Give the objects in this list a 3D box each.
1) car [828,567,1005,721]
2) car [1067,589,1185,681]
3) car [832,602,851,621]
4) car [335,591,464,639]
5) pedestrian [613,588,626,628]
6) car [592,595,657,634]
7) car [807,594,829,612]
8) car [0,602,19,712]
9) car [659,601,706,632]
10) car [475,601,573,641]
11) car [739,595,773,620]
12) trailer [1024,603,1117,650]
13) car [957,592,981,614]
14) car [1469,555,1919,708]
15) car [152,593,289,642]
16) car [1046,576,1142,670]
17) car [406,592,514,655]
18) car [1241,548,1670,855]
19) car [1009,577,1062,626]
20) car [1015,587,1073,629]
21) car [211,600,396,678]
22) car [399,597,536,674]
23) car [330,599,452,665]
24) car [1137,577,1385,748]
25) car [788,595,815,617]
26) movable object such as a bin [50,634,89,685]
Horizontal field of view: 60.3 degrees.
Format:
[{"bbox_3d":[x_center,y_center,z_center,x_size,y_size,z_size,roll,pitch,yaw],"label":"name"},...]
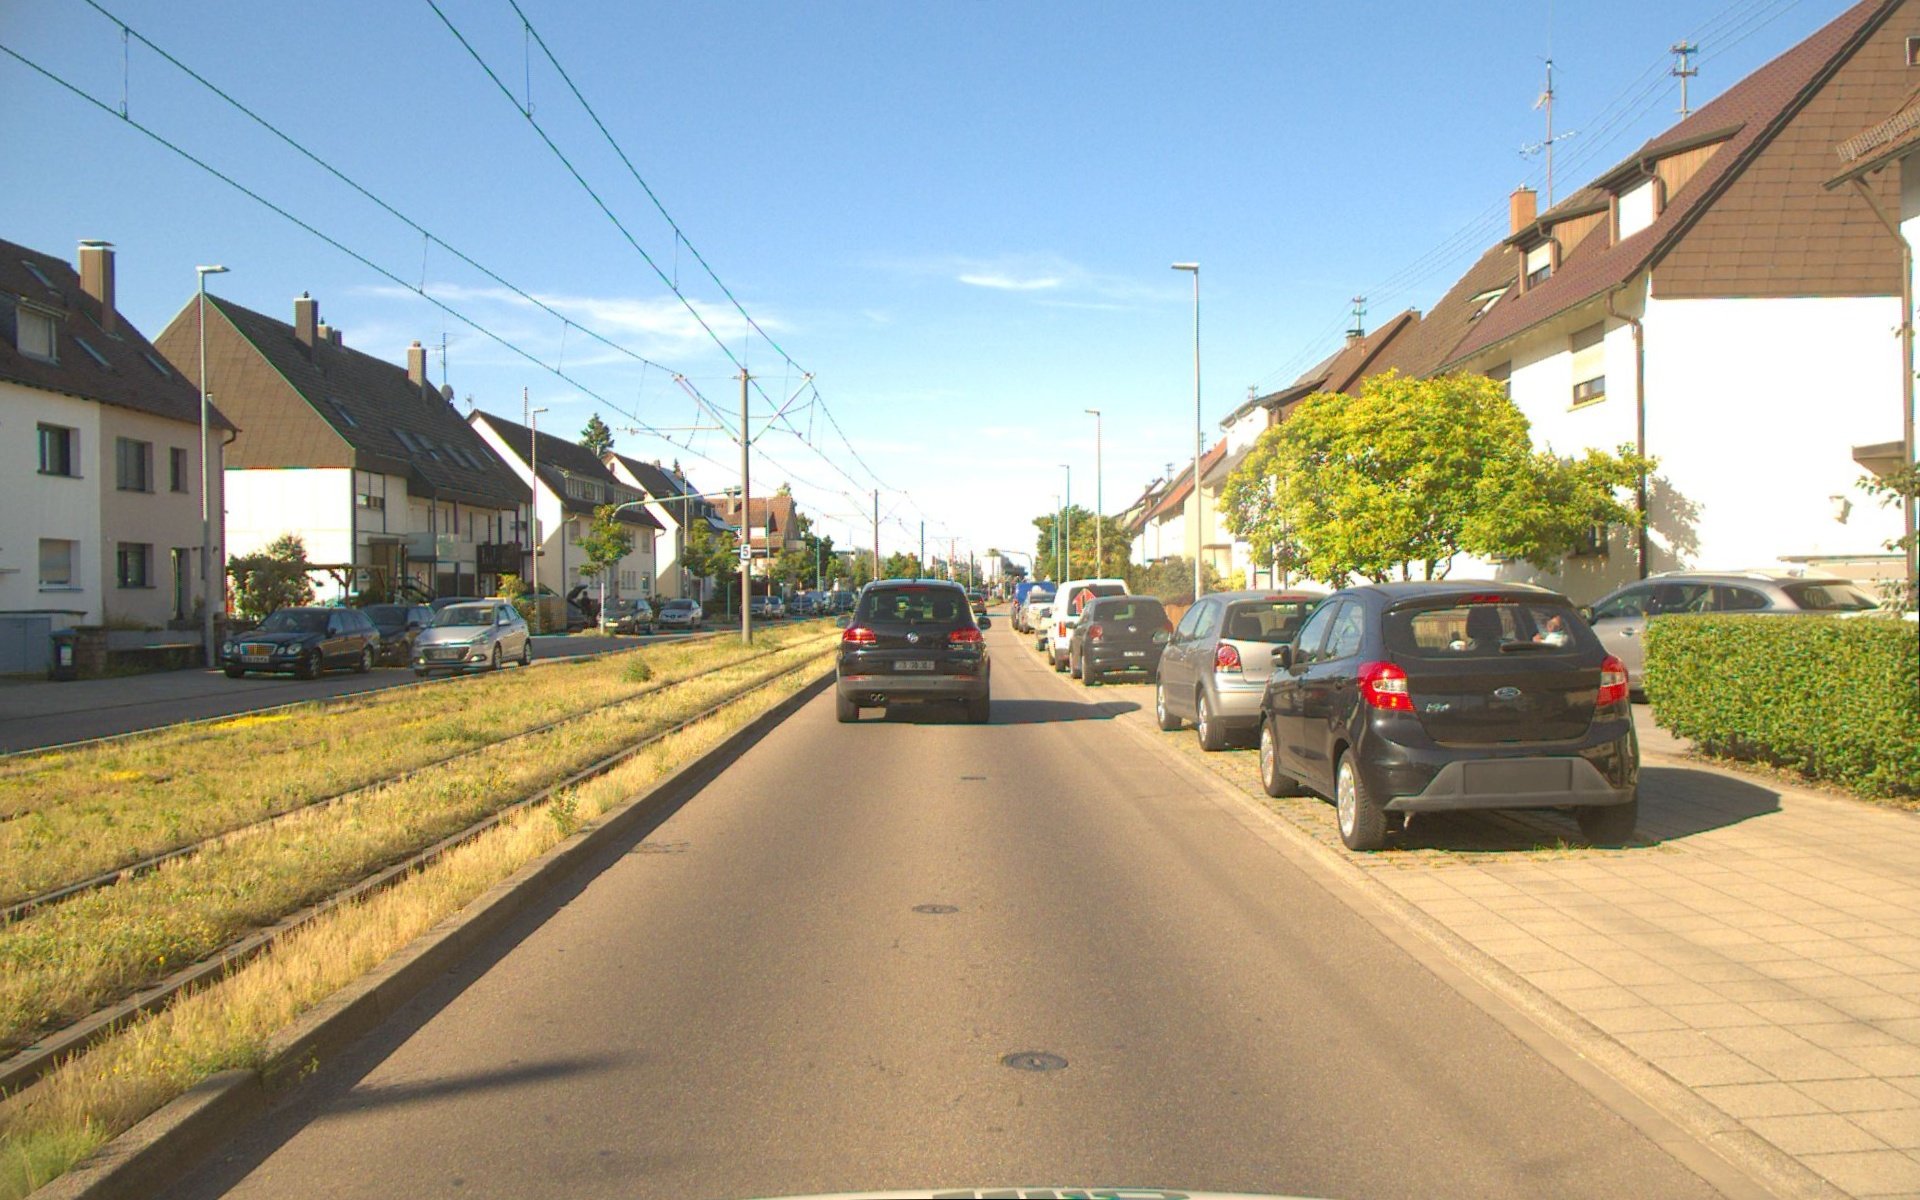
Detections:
[{"bbox_3d":[-0.646,0.501,20.644,1.777,1.700,4.251,1,0,-7],"label":"car"},{"bbox_3d":[2.840,0.575,29.070,1.637,1.478,4.125,-1,0,0],"label":"car"},{"bbox_3d":[-10.633,1.025,148.637,1.435,1.706,3.287,-1,-1,0],"label":"car"},{"bbox_3d":[-20.277,0.513,59.918,4.083,1.645,1.758,-1,0,-4],"label":"car"},{"bbox_3d":[-15.198,0.352,73.896,0.459,1.776,0.536,-1,0,-1],"label":"pedestrian"},{"bbox_3d":[-13.649,0.581,67.500,1.584,1.478,3.720,-1,1,5],"label":"car"},{"bbox_3d":[-11.244,0.201,131.363,1.484,1.385,3.590,-1,0,-1],"label":"car"},{"bbox_3d":[-13.924,0.797,20.813,1.753,1.488,4.166,-1,0,0],"label":"car"},{"bbox_3d":[-13.449,0.814,80.338,1.585,1.434,3.717,-1,-1,0],"label":"car"},{"bbox_3d":[-18.562,0.890,70.591,3.829,1.595,1.731,-1,0,-8],"label":"car"},{"bbox_3d":[-12.724,0.459,103.348,1.625,1.523,3.579,-1,0,0],"label":"car"},{"bbox_3d":[2.954,0.678,45.049,2.159,1.113,4.371,-2,0,-1],"label":"trailer"},{"bbox_3d":[0.564,0.197,110.363,1.540,1.415,3.614,-1,0,0],"label":"car"},{"bbox_3d":[8.259,0.306,18.826,1.969,1.470,4.842,-2,0,-25],"label":"car"},{"bbox_3d":[-26.668,0.615,59.725,4.071,1.683,1.858,-1,0,3],"label":"car"},{"bbox_3d":[2.752,0.435,34.771,1.655,1.807,4.656,-1,0,0],"label":"car"},{"bbox_3d":[-13.874,0.620,46.162,1.767,1.625,4.809,-1,0,-3],"label":"car"},{"bbox_3d":[3.002,0.540,10.853,1.632,1.574,3.835,-3,0,1],"label":"car"},{"bbox_3d":[3.061,0.050,68.213,1.953,1.894,4.917,-1,0,0],"label":"car"},{"bbox_3d":[3.101,0.274,61.840,1.750,1.466,4.458,-2,0,-2],"label":"car"},{"bbox_3d":[-13.925,0.784,35.409,1.838,1.549,4.882,0,0,2],"label":"car"},{"bbox_3d":[-10.404,0.767,35.202,1.673,1.517,4.024,-1,-1,0],"label":"car"},{"bbox_3d":[-13.904,0.744,40.640,1.489,1.500,4.201,-1,1,0],"label":"car"},{"bbox_3d":[2.935,0.561,17.026,1.583,1.501,4.447,-1,0,-2],"label":"car"},{"bbox_3d":[-11.999,0.471,125.668,1.626,1.609,4.000,-1,-1,0],"label":"car"},{"bbox_3d":[-16.874,1.127,31.341,0.380,0.943,0.704,-1,-2,-2],"label":"movable object such as a bin"}]
